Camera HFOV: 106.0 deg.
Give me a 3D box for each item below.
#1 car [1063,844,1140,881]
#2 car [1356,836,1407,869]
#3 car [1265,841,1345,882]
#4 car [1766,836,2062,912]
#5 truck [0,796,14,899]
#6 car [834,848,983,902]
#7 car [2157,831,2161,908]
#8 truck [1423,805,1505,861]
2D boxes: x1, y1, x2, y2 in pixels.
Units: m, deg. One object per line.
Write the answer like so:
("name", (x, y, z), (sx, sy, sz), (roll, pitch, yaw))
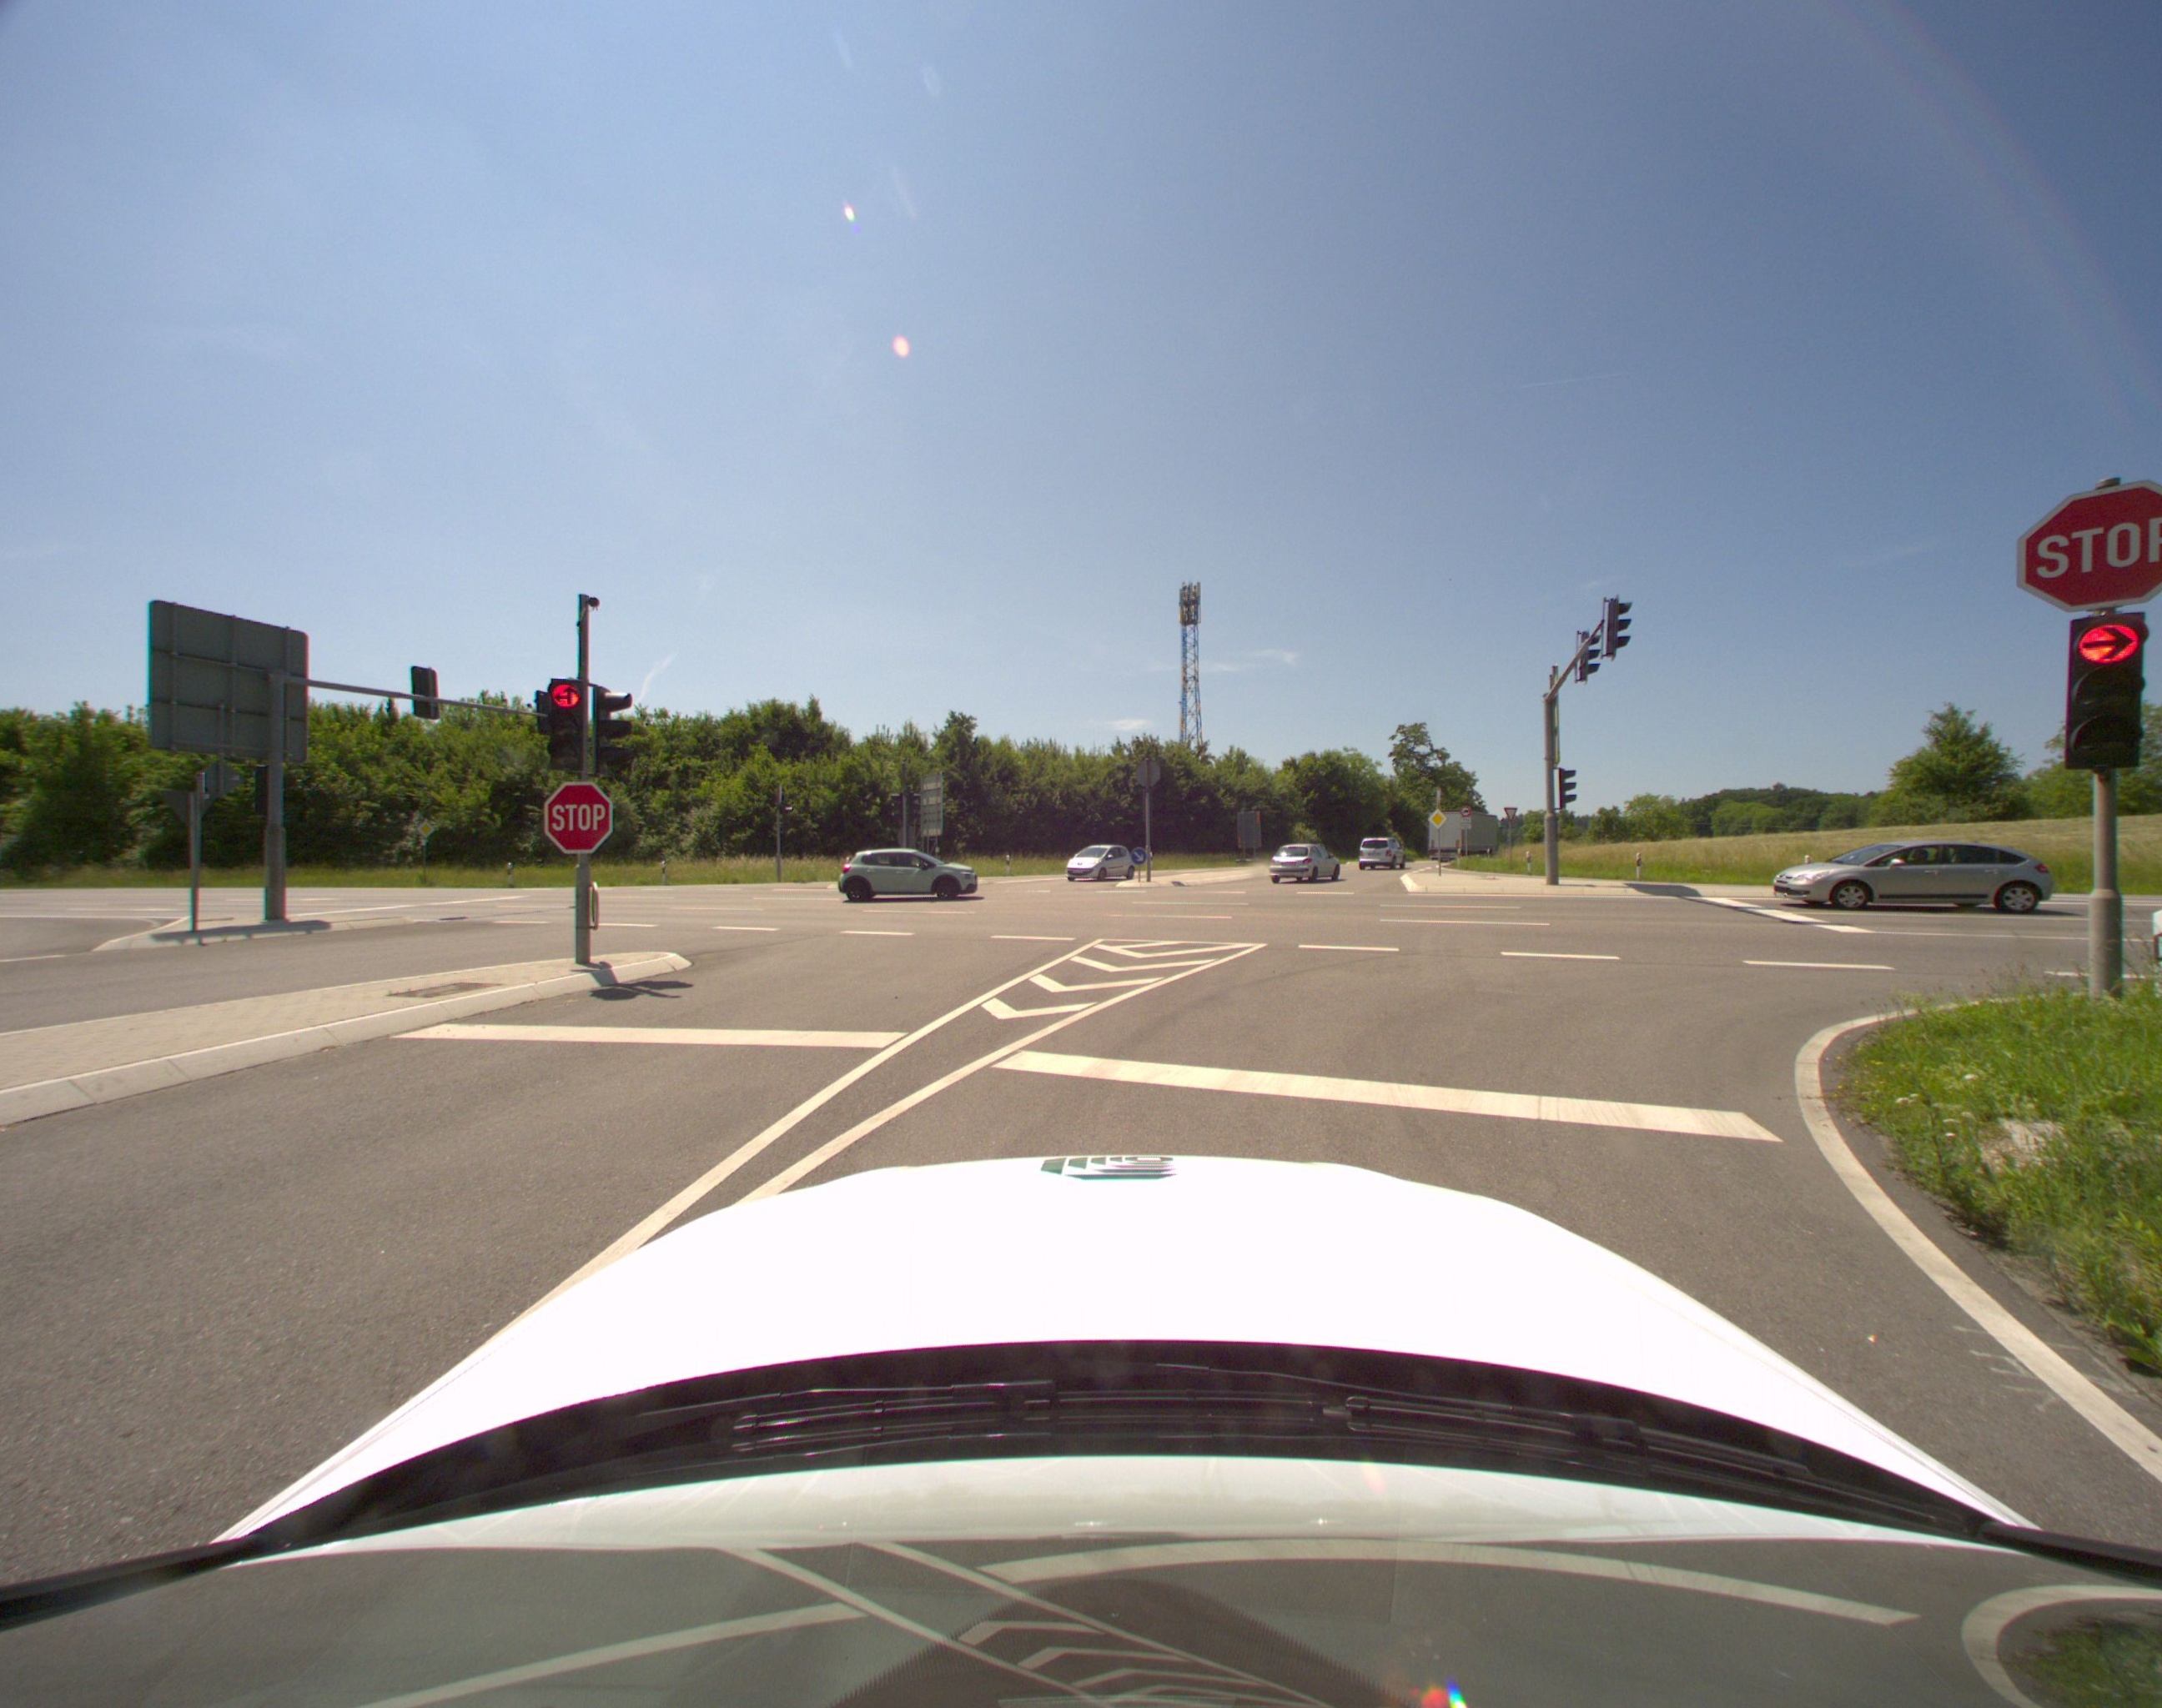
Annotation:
("car", (0.899, 0.327, 33.781), (1.550, 1.370, 3.554), (0, 1, 33))
("car", (15.783, -0.108, 42.711), (1.795, 1.625, 4.086), (-1, 1, 30))
("car", (8.484, 0.234, 30.703), (1.795, 1.413, 3.808), (0, 1, 33))
("car", (17.690, 0.378, 17.579), (4.121, 1.469, 1.739), (0, 2, 22))
("truck", (-45.367, -0.197, 31.130), (6.226, 4.036, 2.667), (-1, 1, 7))
("car", (-4.991, 0.585, 23.957), (3.963, 1.404, 1.734), (-1, 1, -2))
("car", (23.619, 0.348, 14.965), (4.329, 1.553, 1.740), (0, 2, 25))
("truck", (32.430, -1.632, 68.322), (3.095, 4.172, 16.793), (-1, 0, 36))
